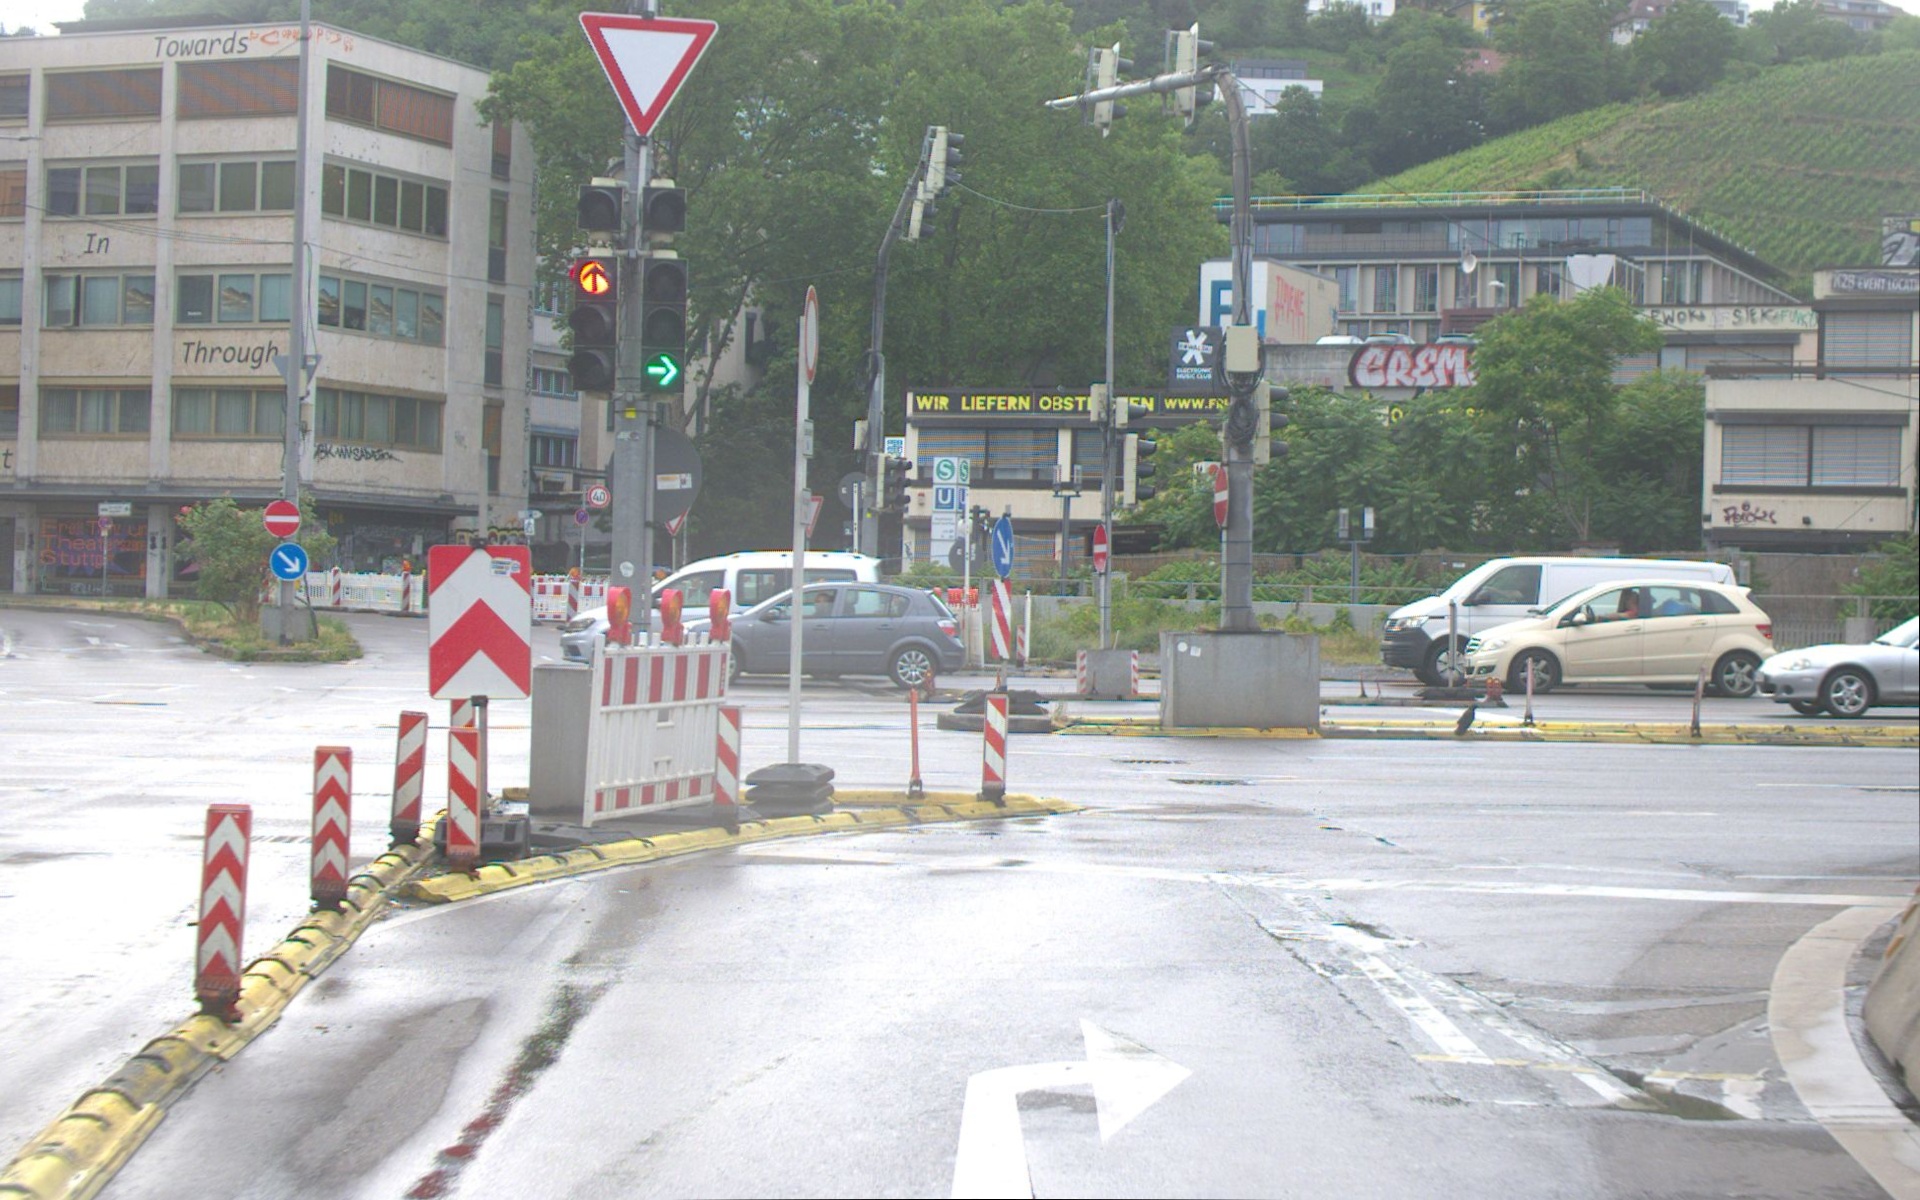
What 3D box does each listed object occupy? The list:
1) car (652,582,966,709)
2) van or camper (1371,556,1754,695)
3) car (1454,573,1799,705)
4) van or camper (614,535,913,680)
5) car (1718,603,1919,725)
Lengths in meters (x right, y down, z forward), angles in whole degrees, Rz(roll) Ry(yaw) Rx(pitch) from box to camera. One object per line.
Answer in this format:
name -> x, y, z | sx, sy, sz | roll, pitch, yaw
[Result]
car -> -2.091, 0.604, 46.990 | 4.166, 1.593, 1.851 | 1, 1, -4
van or camper -> 8.815, 0.364, 50.562 | 5.194, 1.887, 1.888 | 1, 1, -4
car -> 9.143, 0.522, 47.424 | 4.366, 1.668, 1.848 | 1, 1, 1
van or camper -> -2.888, 0.098, 50.284 | 4.241, 1.972, 1.851 | 1, 1, -4
car -> 11.188, 0.753, 39.543 | 4.514, 1.305, 1.643 | 1, 1, -2
